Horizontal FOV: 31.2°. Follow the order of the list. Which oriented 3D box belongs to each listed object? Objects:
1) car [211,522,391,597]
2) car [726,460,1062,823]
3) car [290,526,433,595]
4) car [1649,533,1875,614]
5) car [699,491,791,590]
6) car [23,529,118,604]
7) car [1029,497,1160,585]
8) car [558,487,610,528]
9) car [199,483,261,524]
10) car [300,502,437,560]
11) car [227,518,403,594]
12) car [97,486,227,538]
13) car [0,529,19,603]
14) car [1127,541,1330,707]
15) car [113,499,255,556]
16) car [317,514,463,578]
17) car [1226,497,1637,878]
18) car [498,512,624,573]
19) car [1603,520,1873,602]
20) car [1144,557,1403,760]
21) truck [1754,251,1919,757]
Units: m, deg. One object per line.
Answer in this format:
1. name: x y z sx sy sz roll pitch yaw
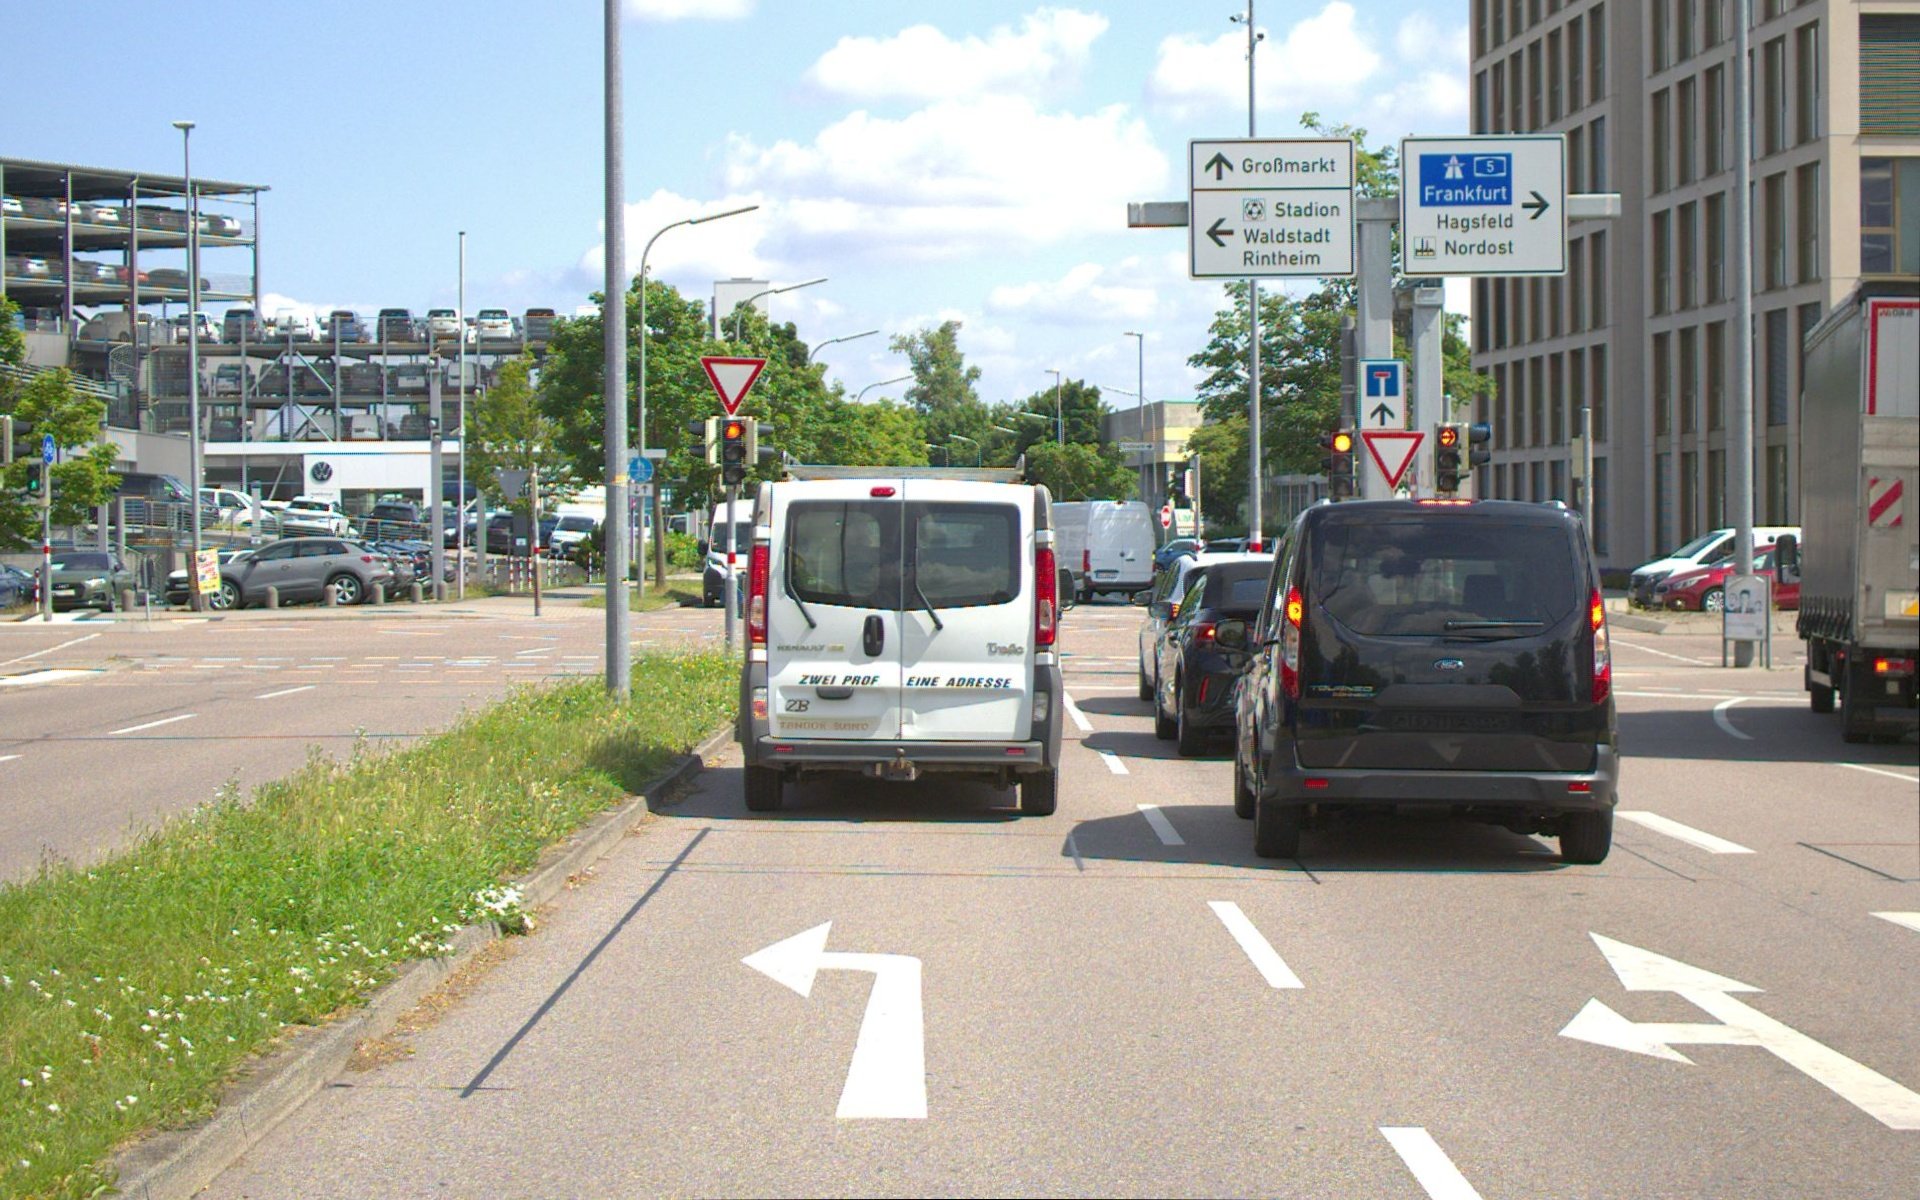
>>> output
1. car: -15.247 -0.949 79.652 3.861 1.634 1.858 -1 2 -3
2. car: -0.317 0.212 21.397 1.856 2.011 4.000 1 1 2
3. car: -15.650 -1.042 90.027 3.507 1.707 1.604 -1 2 -3
4. car: 15.398 -0.516 66.130 3.893 1.485 1.795 1 2 -1
5. car: -5.185 -1.450 82.473 1.971 2.248 4.982 -1 2 -6
6. car: -19.329 -0.739 74.606 1.816 1.546 4.001 1 1 -17
7. car: 3.497 -1.579 90.339 1.993 2.247 5.516 0 2 -14
8. car: -14.437 -3.555 132.050 1.846 1.524 4.001 0 2 -4
9. car: -28.016 -3.715 132.020 1.846 1.524 4.001 0 2 -4
10. car: -18.959 -2.215 110.334 4.164 1.707 1.689 2 1 -6
11. car: -15.400 -1.059 82.254 3.912 1.707 1.689 -1 2 -3
12. car: -27.546 -3.030 118.732 4.164 1.707 1.689 1 1 -6
13. car: -21.313 -0.753 74.140 1.816 1.546 4.001 1 1 -17
14. car: 2.635 0.212 34.482 1.740 1.538 4.000 1 0 1
15. car: -24.555 -2.290 108.874 4.164 1.707 1.689 1 1 -6
16. car: -16.249 -1.552 98.153 3.912 1.707 1.689 -1 2 -3
17. car: 2.433 0.390 18.629 1.820 1.802 4.000 1 1 3
18. car: -12.903 -1.866 111.241 3.986 1.919 1.827 1 1 -6
19. car: 15.885 -0.801 70.331 4.981 1.602 2.001 0 2 -9
20. car: 2.450 0.420 27.704 1.740 1.490 4.000 1 0 1
21. truck: 8.937 -0.846 30.909 3.131 3.927 8.854 1 2 11
